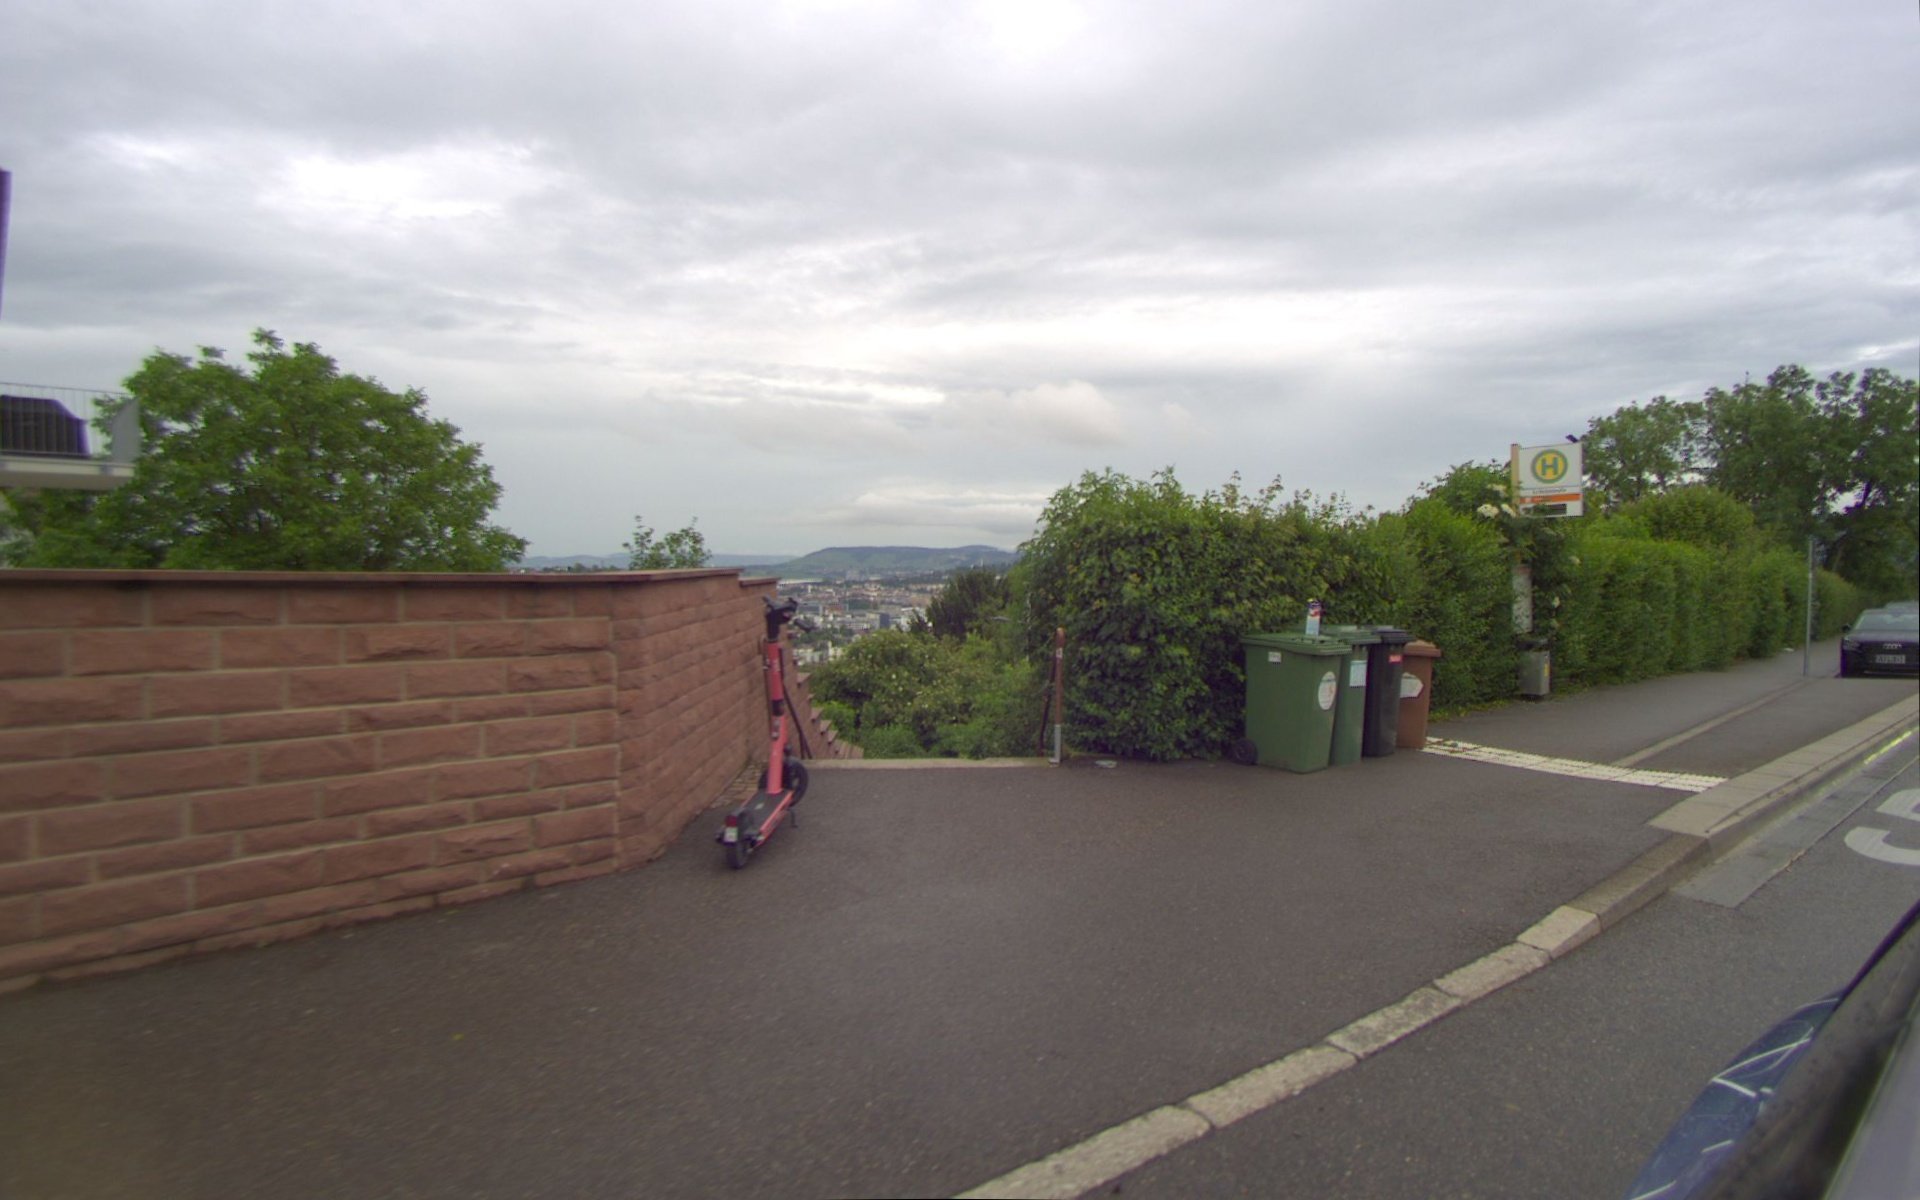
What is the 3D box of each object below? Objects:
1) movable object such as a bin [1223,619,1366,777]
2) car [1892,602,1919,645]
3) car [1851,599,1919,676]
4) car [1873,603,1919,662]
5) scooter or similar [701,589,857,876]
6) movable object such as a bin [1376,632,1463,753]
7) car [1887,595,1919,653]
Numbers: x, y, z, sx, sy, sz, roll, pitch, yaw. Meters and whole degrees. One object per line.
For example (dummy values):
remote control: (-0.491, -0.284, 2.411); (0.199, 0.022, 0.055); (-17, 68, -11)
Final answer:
movable object such as a bin: (2.492, 0.688, 7.541); (0.745, 1.042, 0.712); (1, 2, -45)
car: (33.790, 0.806, 34.723); (1.791, 1.458, 4.589); (1, 0, 32)
car: (21.064, 0.770, 22.383); (4.137, 1.549, 1.755); (0, 1, -45)
car: (25.027, 0.824, 26.274); (4.532, 1.423, 1.714); (1, 0, -45)
scooter or similar: (-0.947, 0.602, 5.252); (0.680, 1.239, 1.265); (1, 3, -11)
movable object such as a bin: (3.990, 0.781, 8.822); (0.563, 0.981, 0.667); (0, -1, 14)
car: (30.084, 0.724, 31.350); (1.887, 1.684, 4.474); (0, 0, 45)
